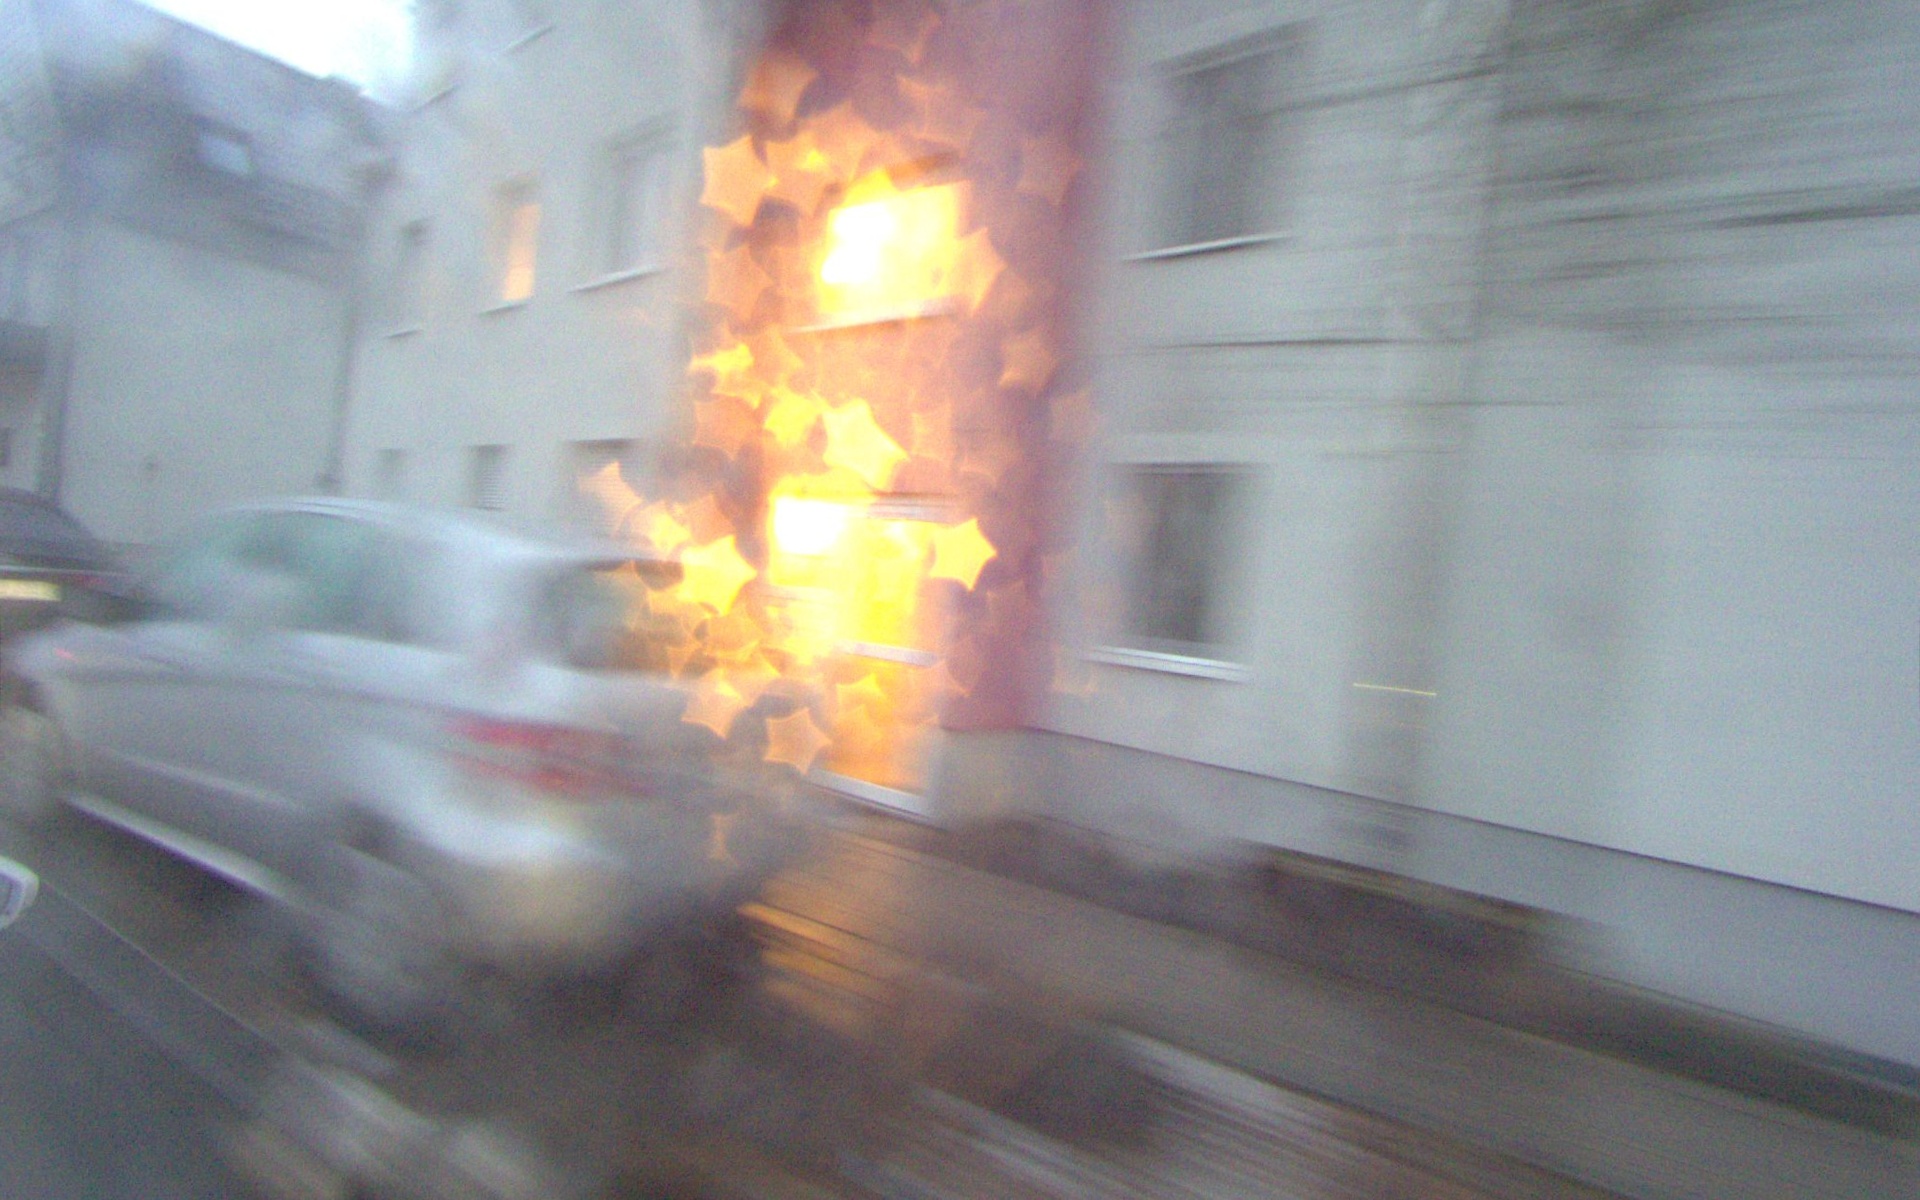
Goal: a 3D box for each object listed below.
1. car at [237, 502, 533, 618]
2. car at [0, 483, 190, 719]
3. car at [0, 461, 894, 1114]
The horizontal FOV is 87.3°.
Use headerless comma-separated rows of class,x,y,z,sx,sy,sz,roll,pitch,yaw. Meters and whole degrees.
car,-10.099,-0.649,17.920,1.837,1.575,4.141,7,1,40
car,-8.415,-0.239,7.919,4.925,1.550,1.961,7,-2,31
car,-2.645,0.372,4.465,4.422,1.596,1.666,7,1,31
